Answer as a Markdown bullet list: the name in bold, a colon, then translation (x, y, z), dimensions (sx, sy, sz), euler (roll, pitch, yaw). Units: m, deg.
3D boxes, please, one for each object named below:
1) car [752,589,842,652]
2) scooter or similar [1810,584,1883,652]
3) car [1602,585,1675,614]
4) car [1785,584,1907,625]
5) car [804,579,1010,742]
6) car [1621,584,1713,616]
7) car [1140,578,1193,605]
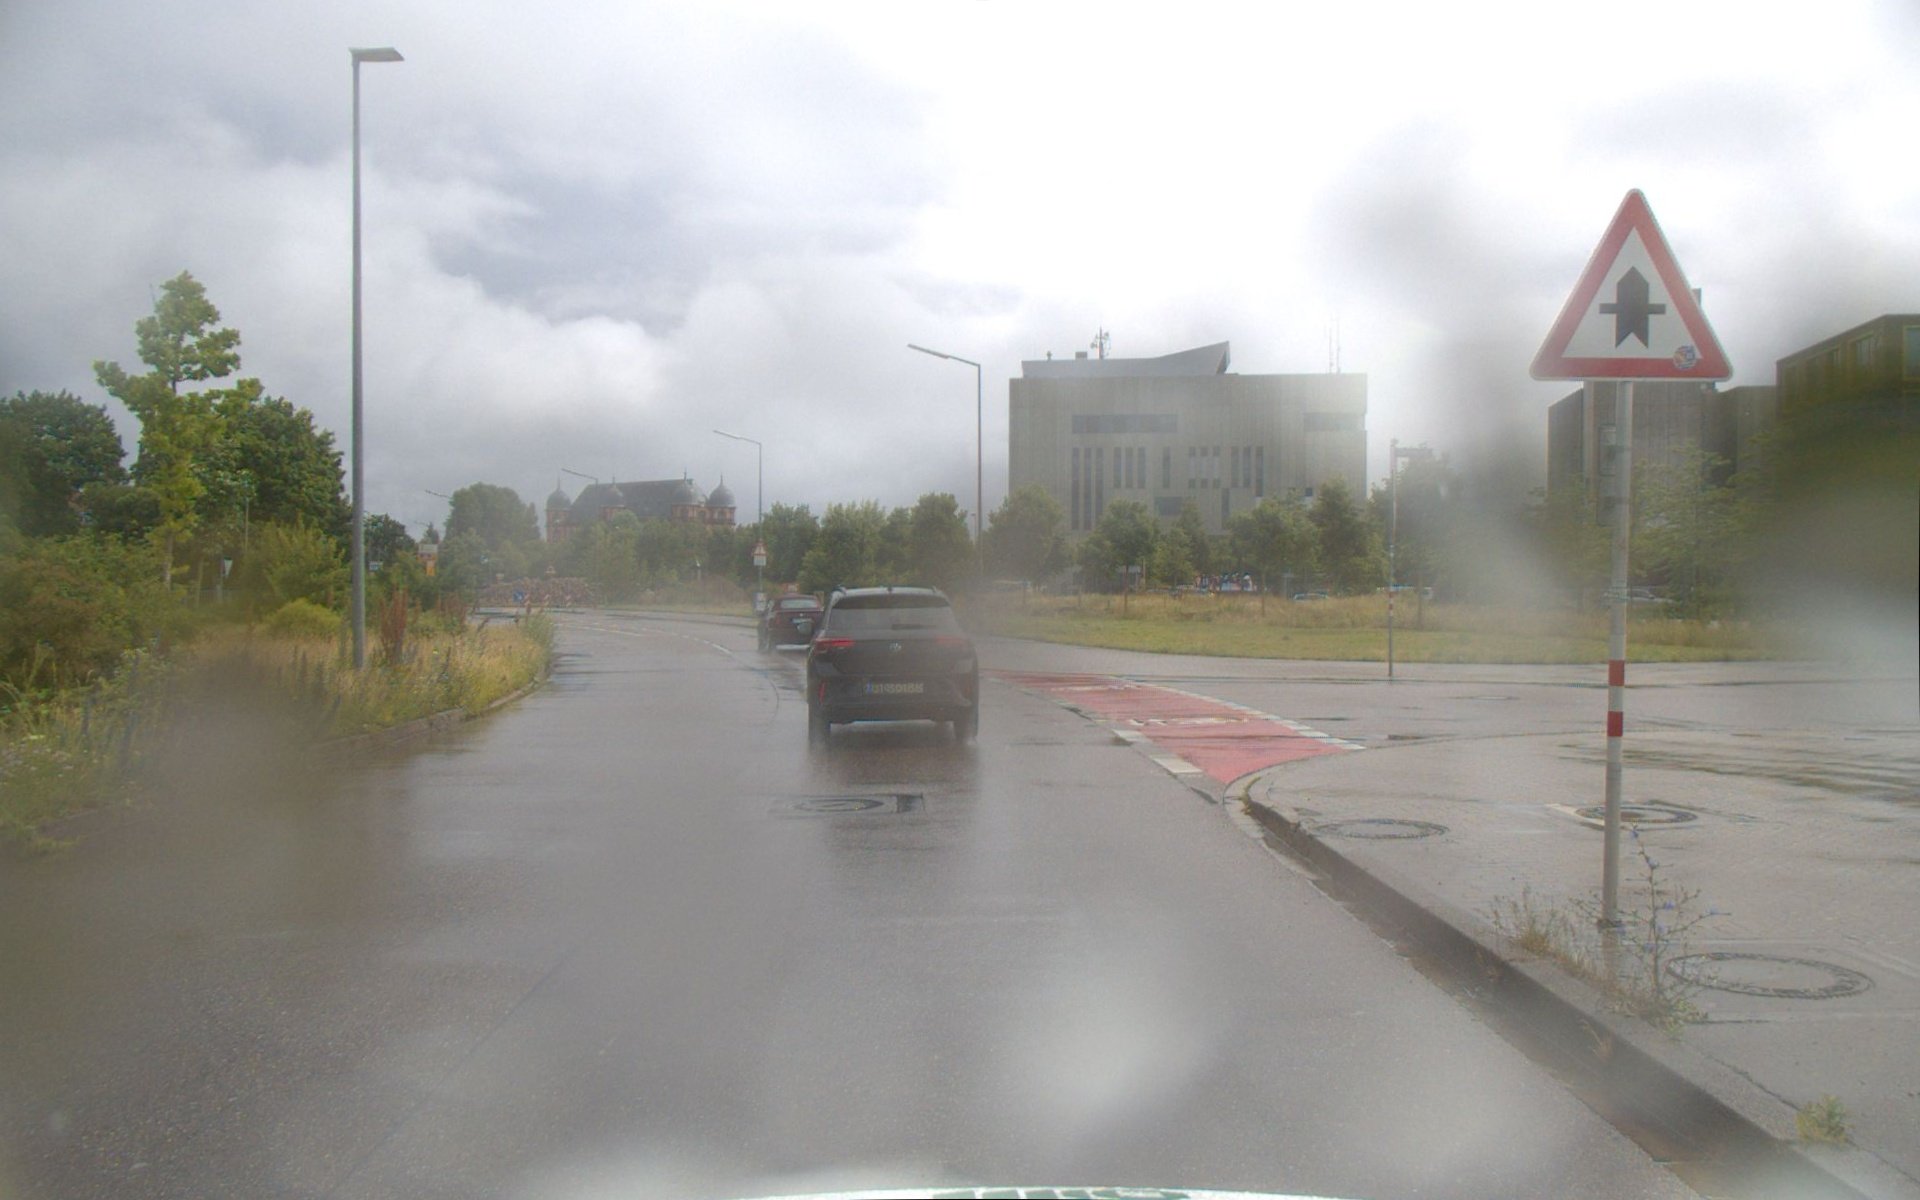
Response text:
- **car**: translation (-4.275, 0.497, 42.983), dimensions (1.809, 1.467, 3.987), euler (-3, 1, -13)
- **scooter or similar**: translation (16.451, 0.324, 30.701), dimensions (1.262, 1.207, 0.500), euler (-2, 2, -22)
- **car**: translation (42.211, -0.039, 102.964), dimensions (3.902, 1.751, 1.771), euler (0, 0, 13)
- **car**: translation (36.436, 0.166, 68.091), dimensions (4.115, 1.585, 1.668), euler (-1, 0, 12)
- **car**: translation (-0.692, 0.559, 17.951), dimensions (1.948, 1.547, 3.995), euler (-1, 1, -6)
- **car**: translation (39.672, -0.014, 92.896), dimensions (4.445, 1.792, 2.002), euler (0, 0, 12)
- **car**: translation (15.533, -0.633, 124.429), dimensions (3.620, 2.049, 2.001), euler (0, 0, 19)
